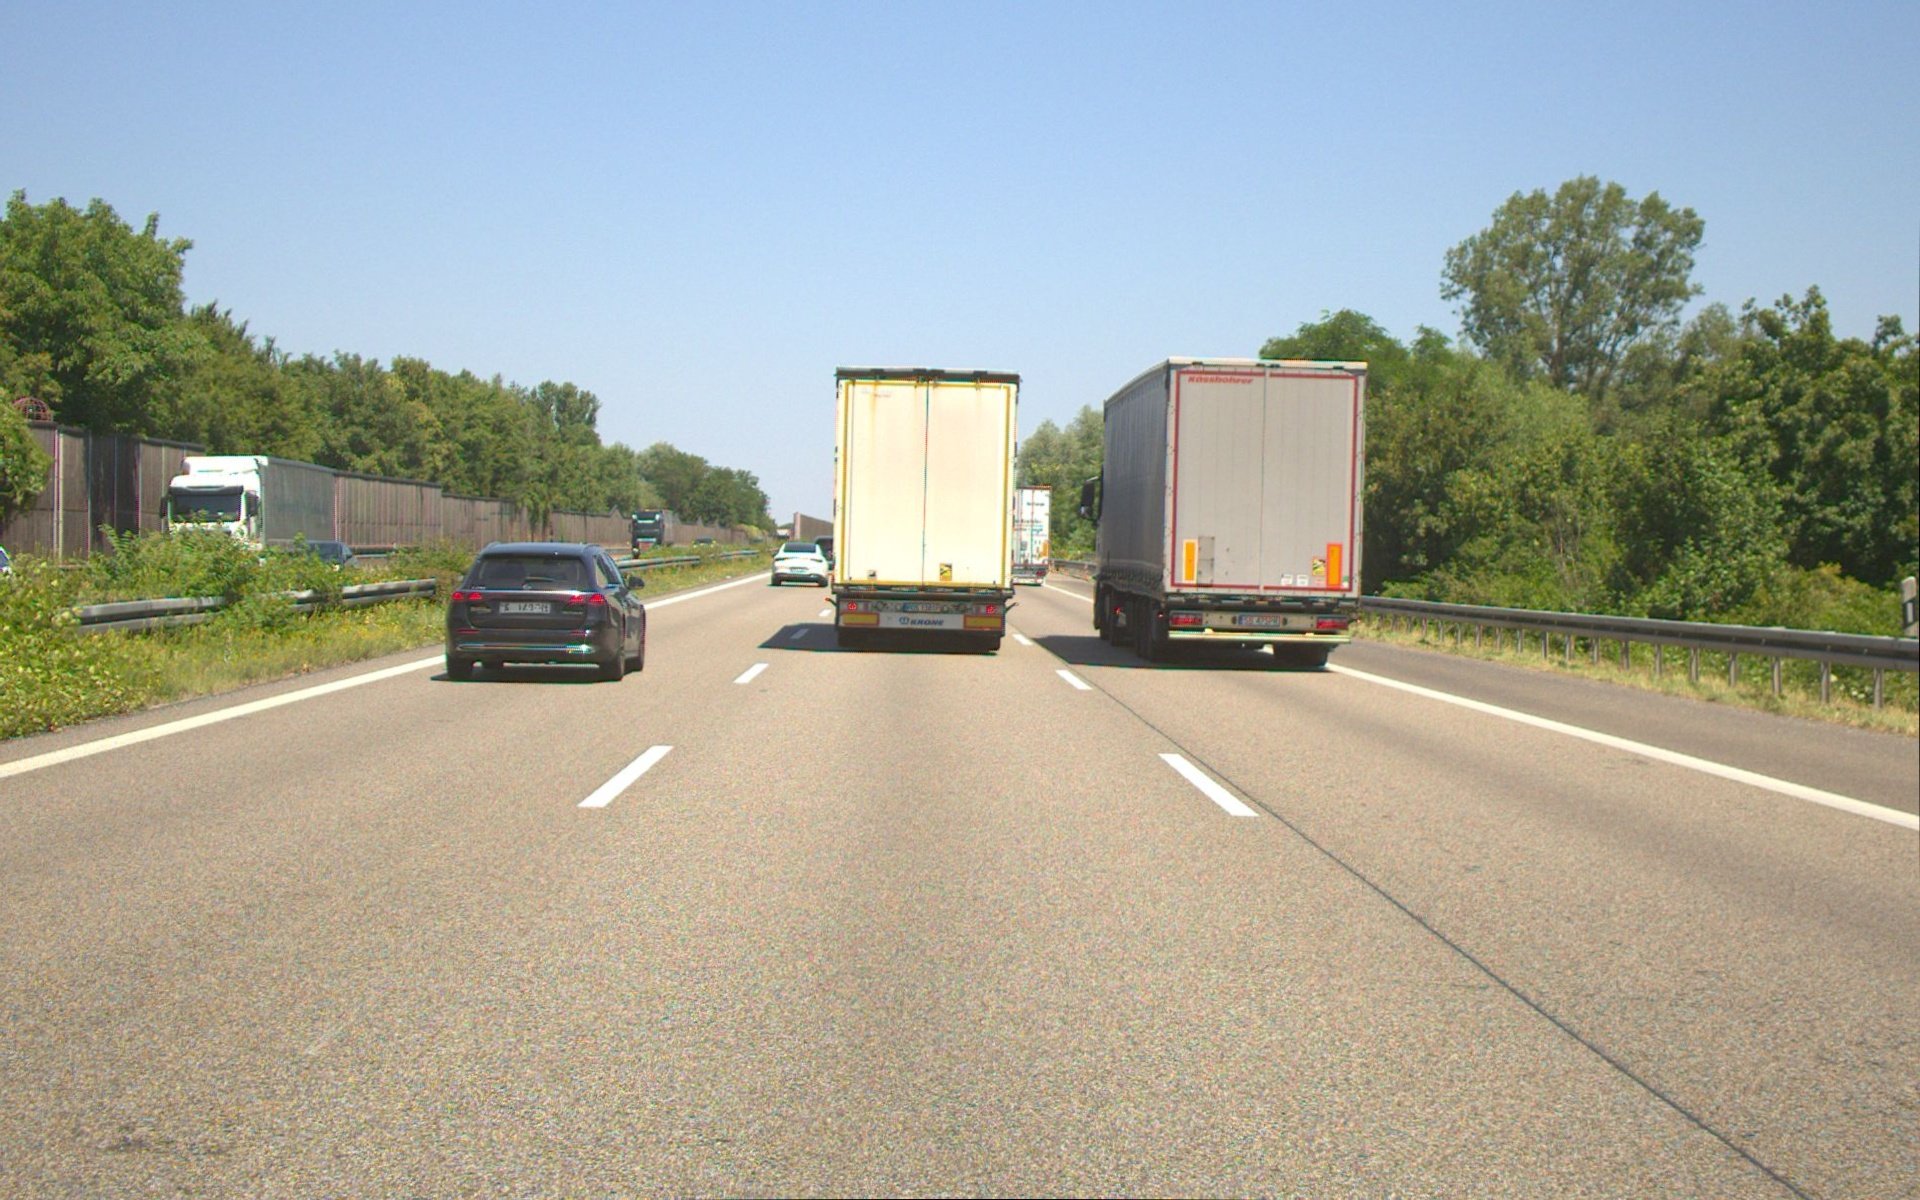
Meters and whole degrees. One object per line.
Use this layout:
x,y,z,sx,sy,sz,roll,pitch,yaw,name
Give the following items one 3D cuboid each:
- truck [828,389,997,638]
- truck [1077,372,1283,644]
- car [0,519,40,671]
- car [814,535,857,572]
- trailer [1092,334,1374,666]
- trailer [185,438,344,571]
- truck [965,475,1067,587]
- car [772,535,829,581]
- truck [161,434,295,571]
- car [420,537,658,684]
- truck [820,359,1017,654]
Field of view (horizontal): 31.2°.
-0.874,-1.485,60.224,2.727,4.071,7.278,1,1,-1,truck
3.554,-1.496,57.388,2.691,4.201,7.839,1,1,-1,truck
-13.723,-0.089,45.103,1.993,2.007,4.896,2,1,-1,car
-5.568,-2.074,153.513,1.855,1.611,4.001,0,1,-2,car
3.728,-1.375,50.331,2.703,4.201,13.213,1,1,-1,trailer
-23.096,-3.110,114.924,2.909,4.169,13.313,0,1,-1,trailer
2.251,-2.872,142.397,3.374,4.289,11.451,3,1,-2,truck
-5.350,-1.427,115.764,1.855,1.481,4.000,0,1,-2,car
-22.962,-3.014,108.191,2.833,4.169,7.143,0,1,-1,truck
-4.631,0.056,38.640,1.943,1.501,5.821,0,1,0,car
-0.748,-1.407,54.554,2.707,4.071,13.475,1,1,-1,truck
